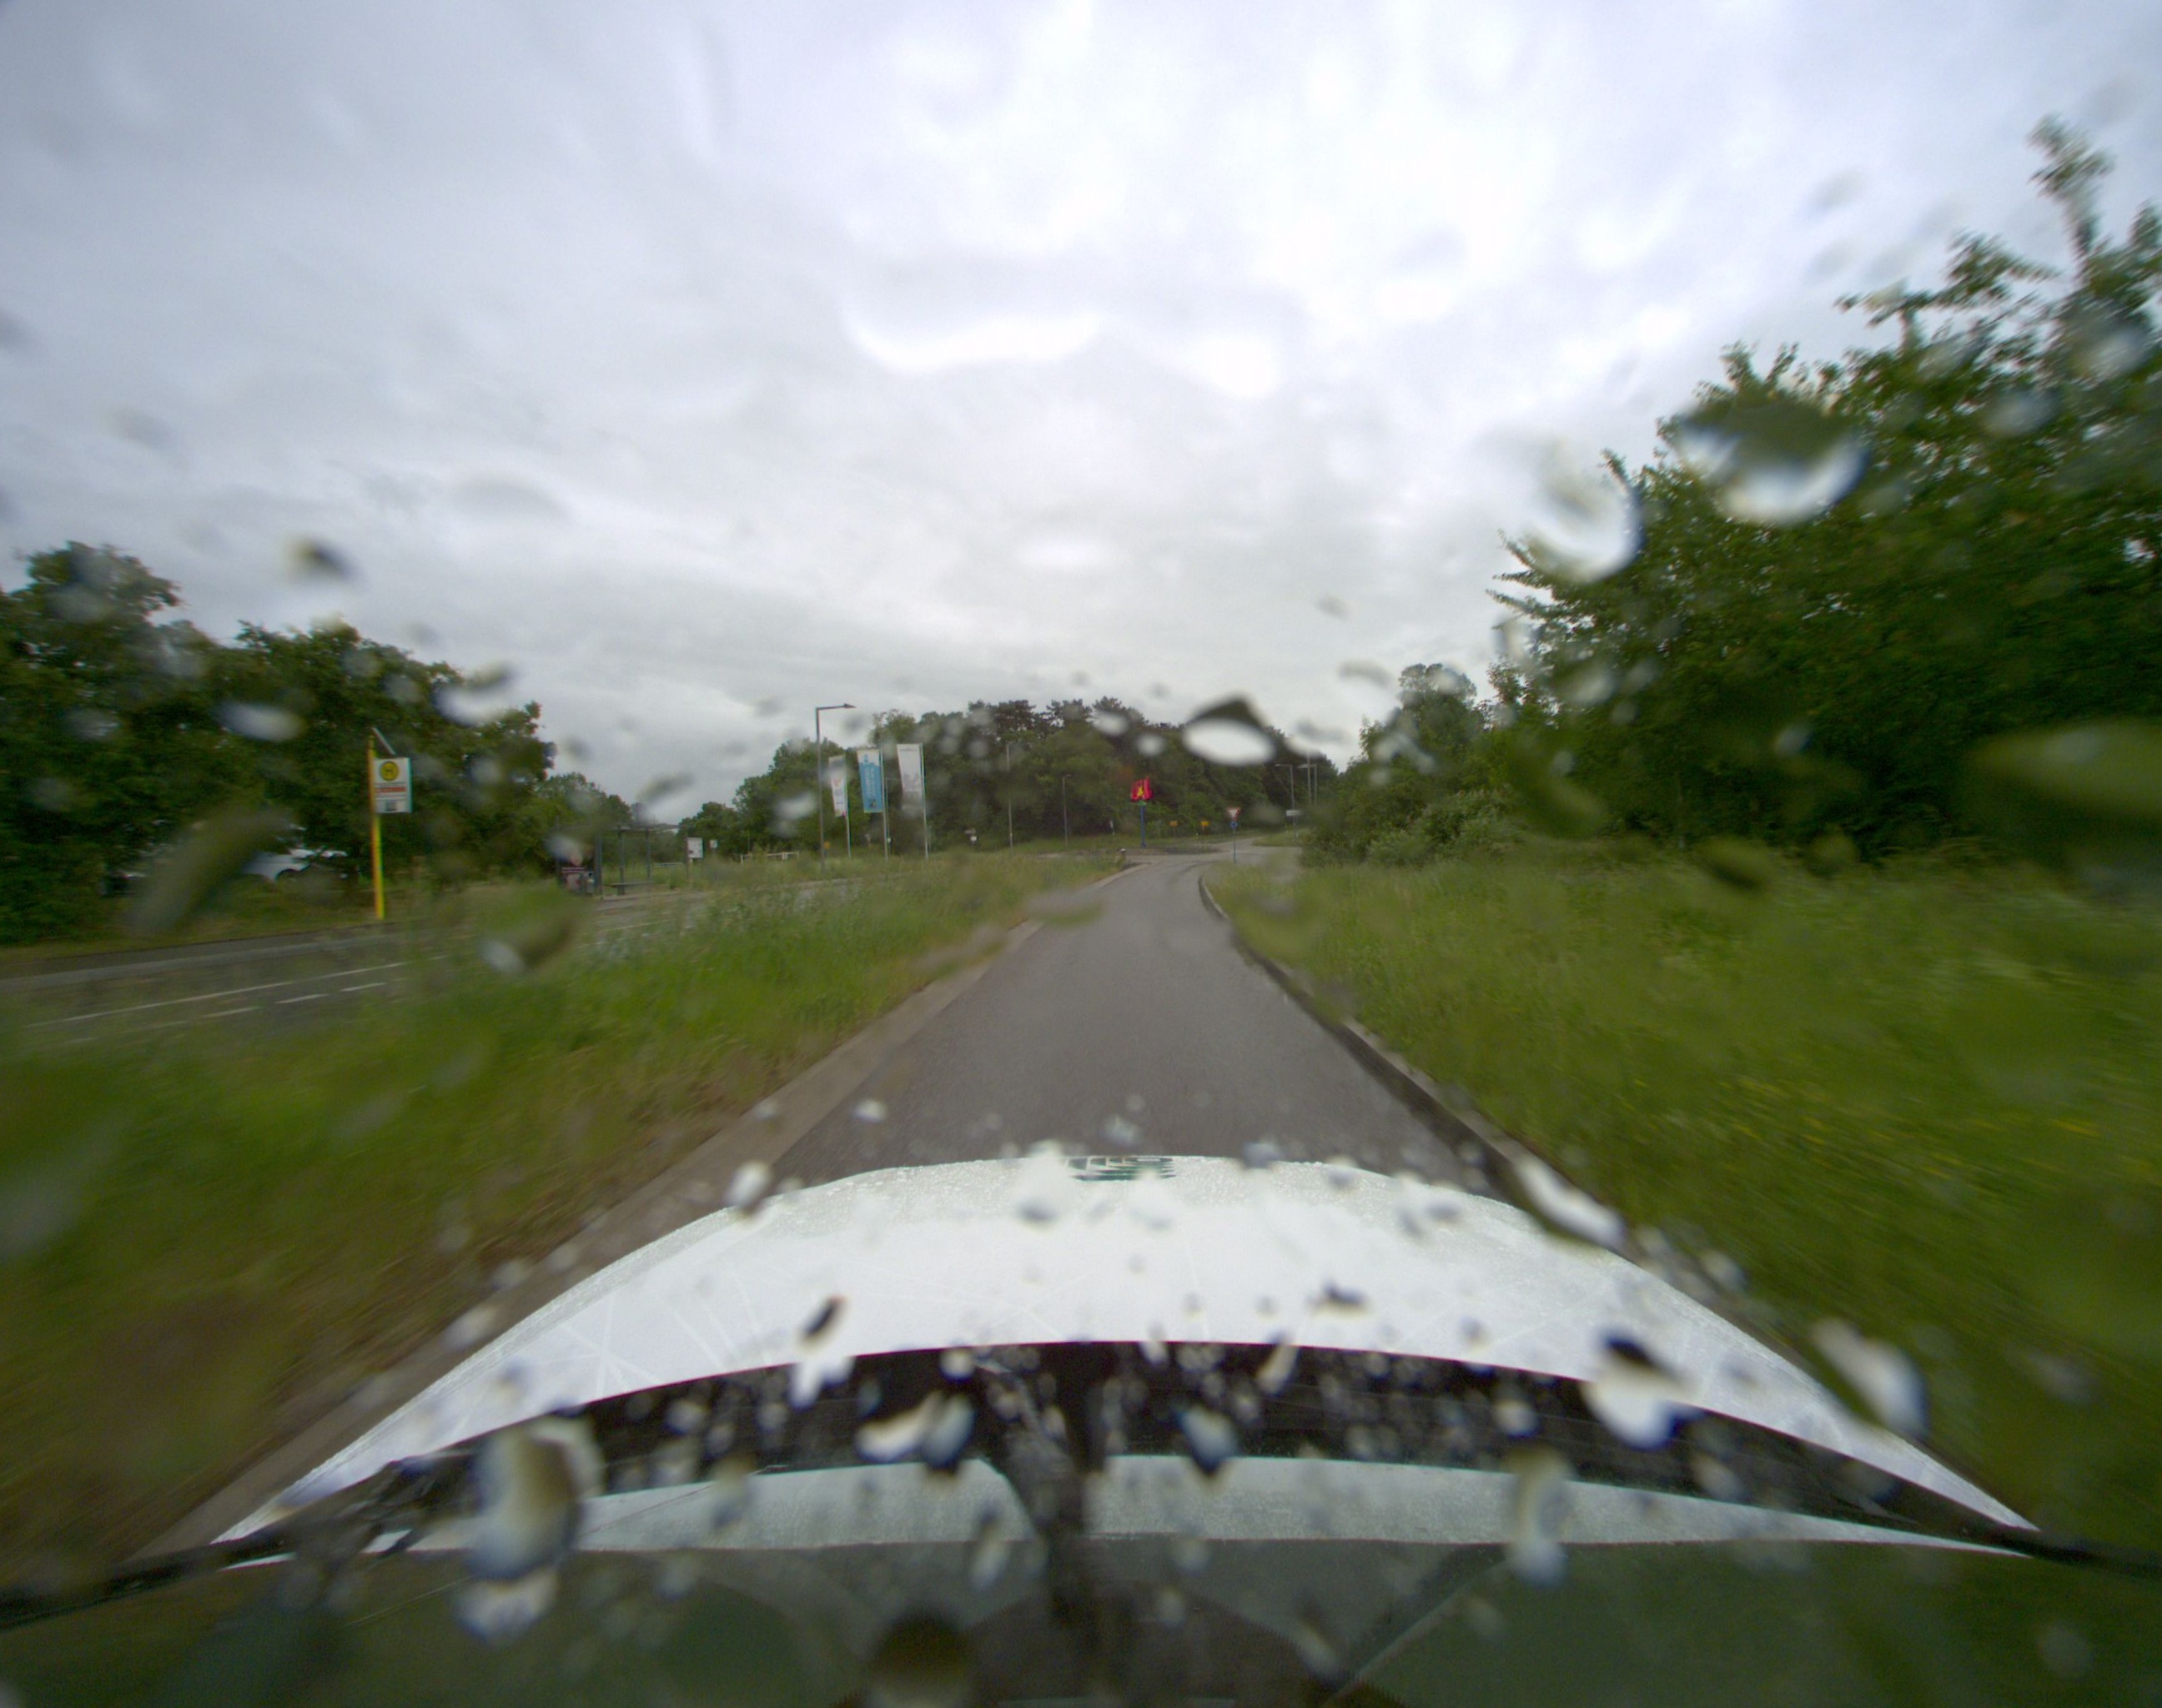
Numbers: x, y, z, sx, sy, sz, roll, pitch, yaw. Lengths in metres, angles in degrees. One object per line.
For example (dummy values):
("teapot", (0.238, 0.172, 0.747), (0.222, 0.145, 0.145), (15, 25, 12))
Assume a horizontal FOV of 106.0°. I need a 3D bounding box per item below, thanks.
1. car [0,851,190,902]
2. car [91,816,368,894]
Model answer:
("car", (-27.390, 0.592, 22.332), (3.976, 1.364, 1.652), (0, 0, -2))
("car", (-28.642, 0.030, 27.647), (6.550, 2.397, 2.133), (-1, -1, -8))
